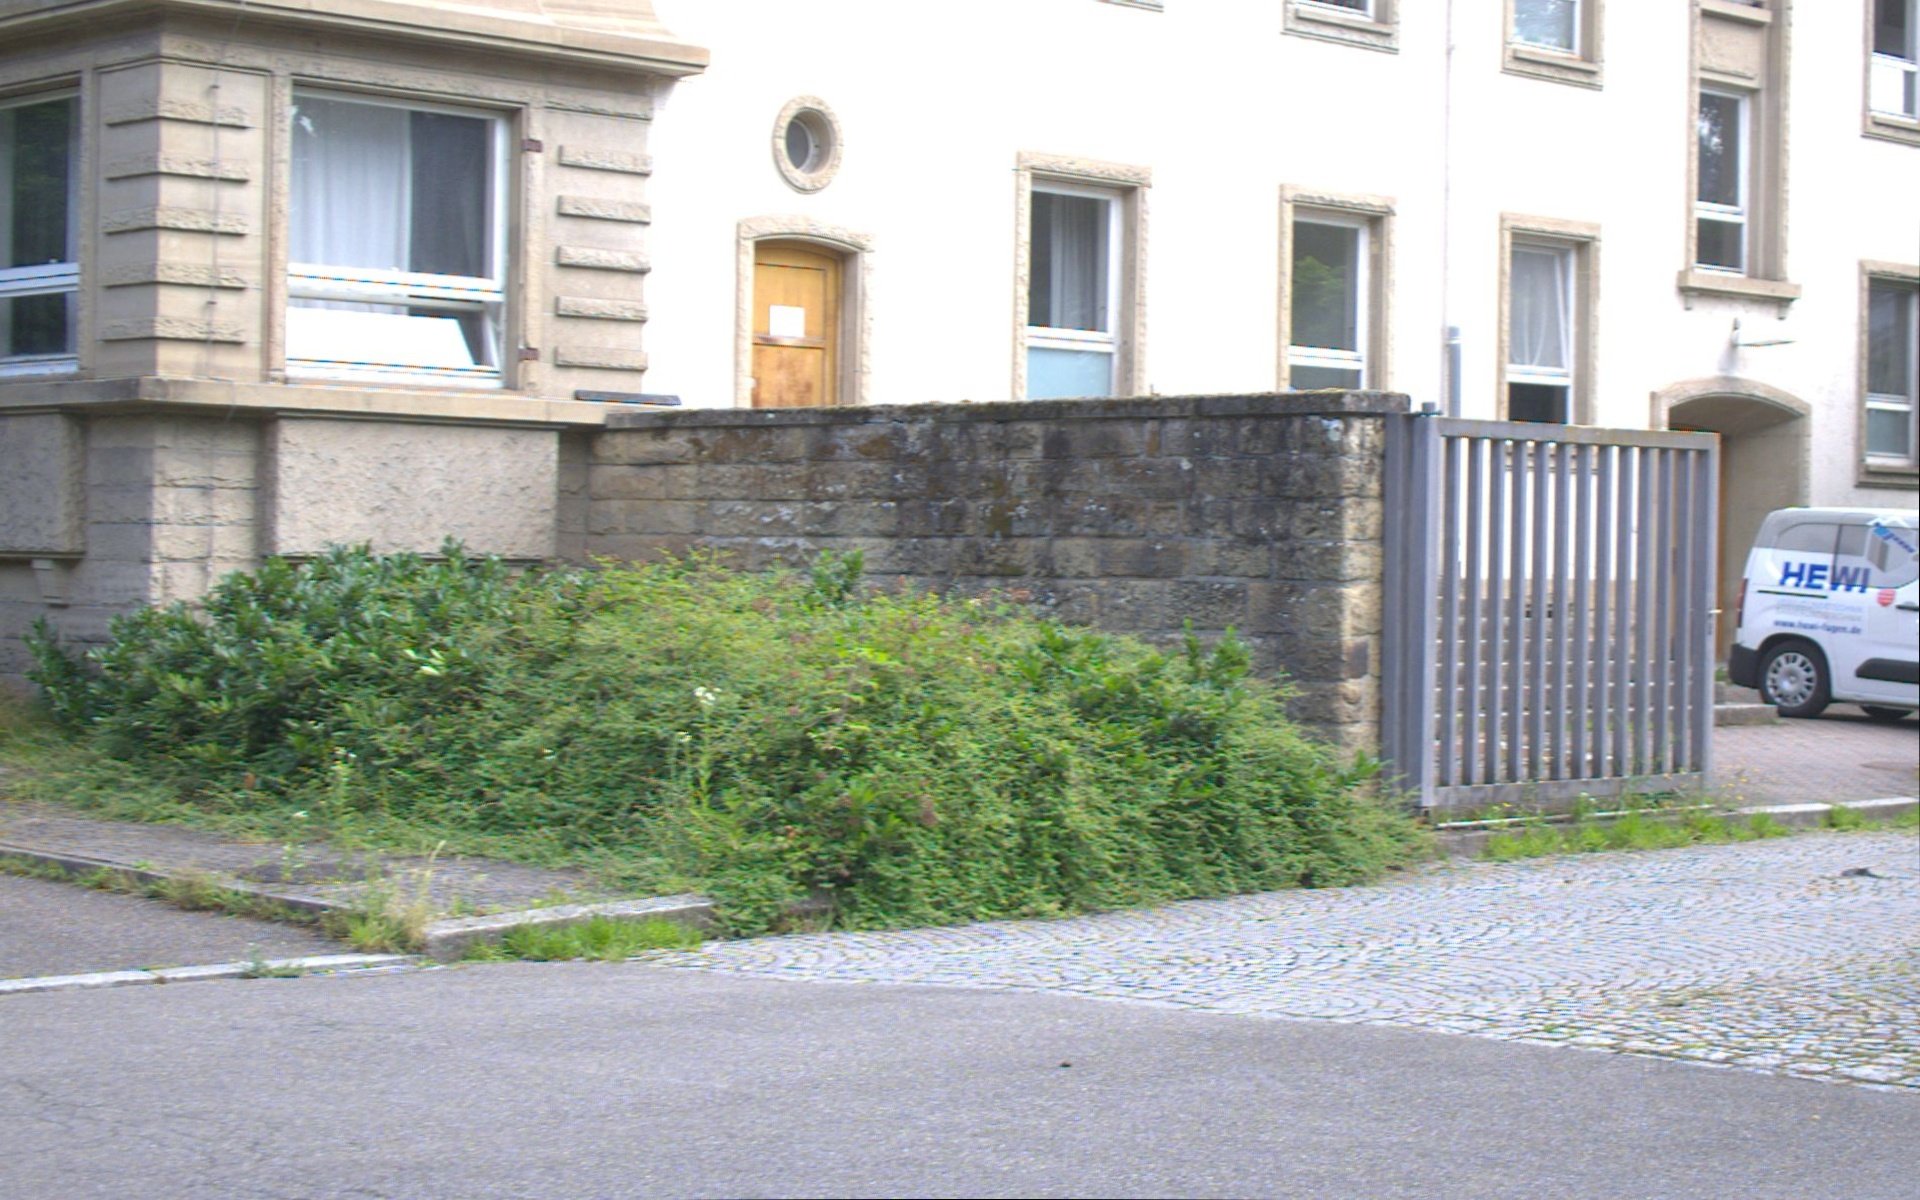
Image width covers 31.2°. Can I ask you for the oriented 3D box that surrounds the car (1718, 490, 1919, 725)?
[{"bbox_3d":[8.590,0.150,27.638,4.448,1.745,1.854,7,5,43],"label":"car"}]
